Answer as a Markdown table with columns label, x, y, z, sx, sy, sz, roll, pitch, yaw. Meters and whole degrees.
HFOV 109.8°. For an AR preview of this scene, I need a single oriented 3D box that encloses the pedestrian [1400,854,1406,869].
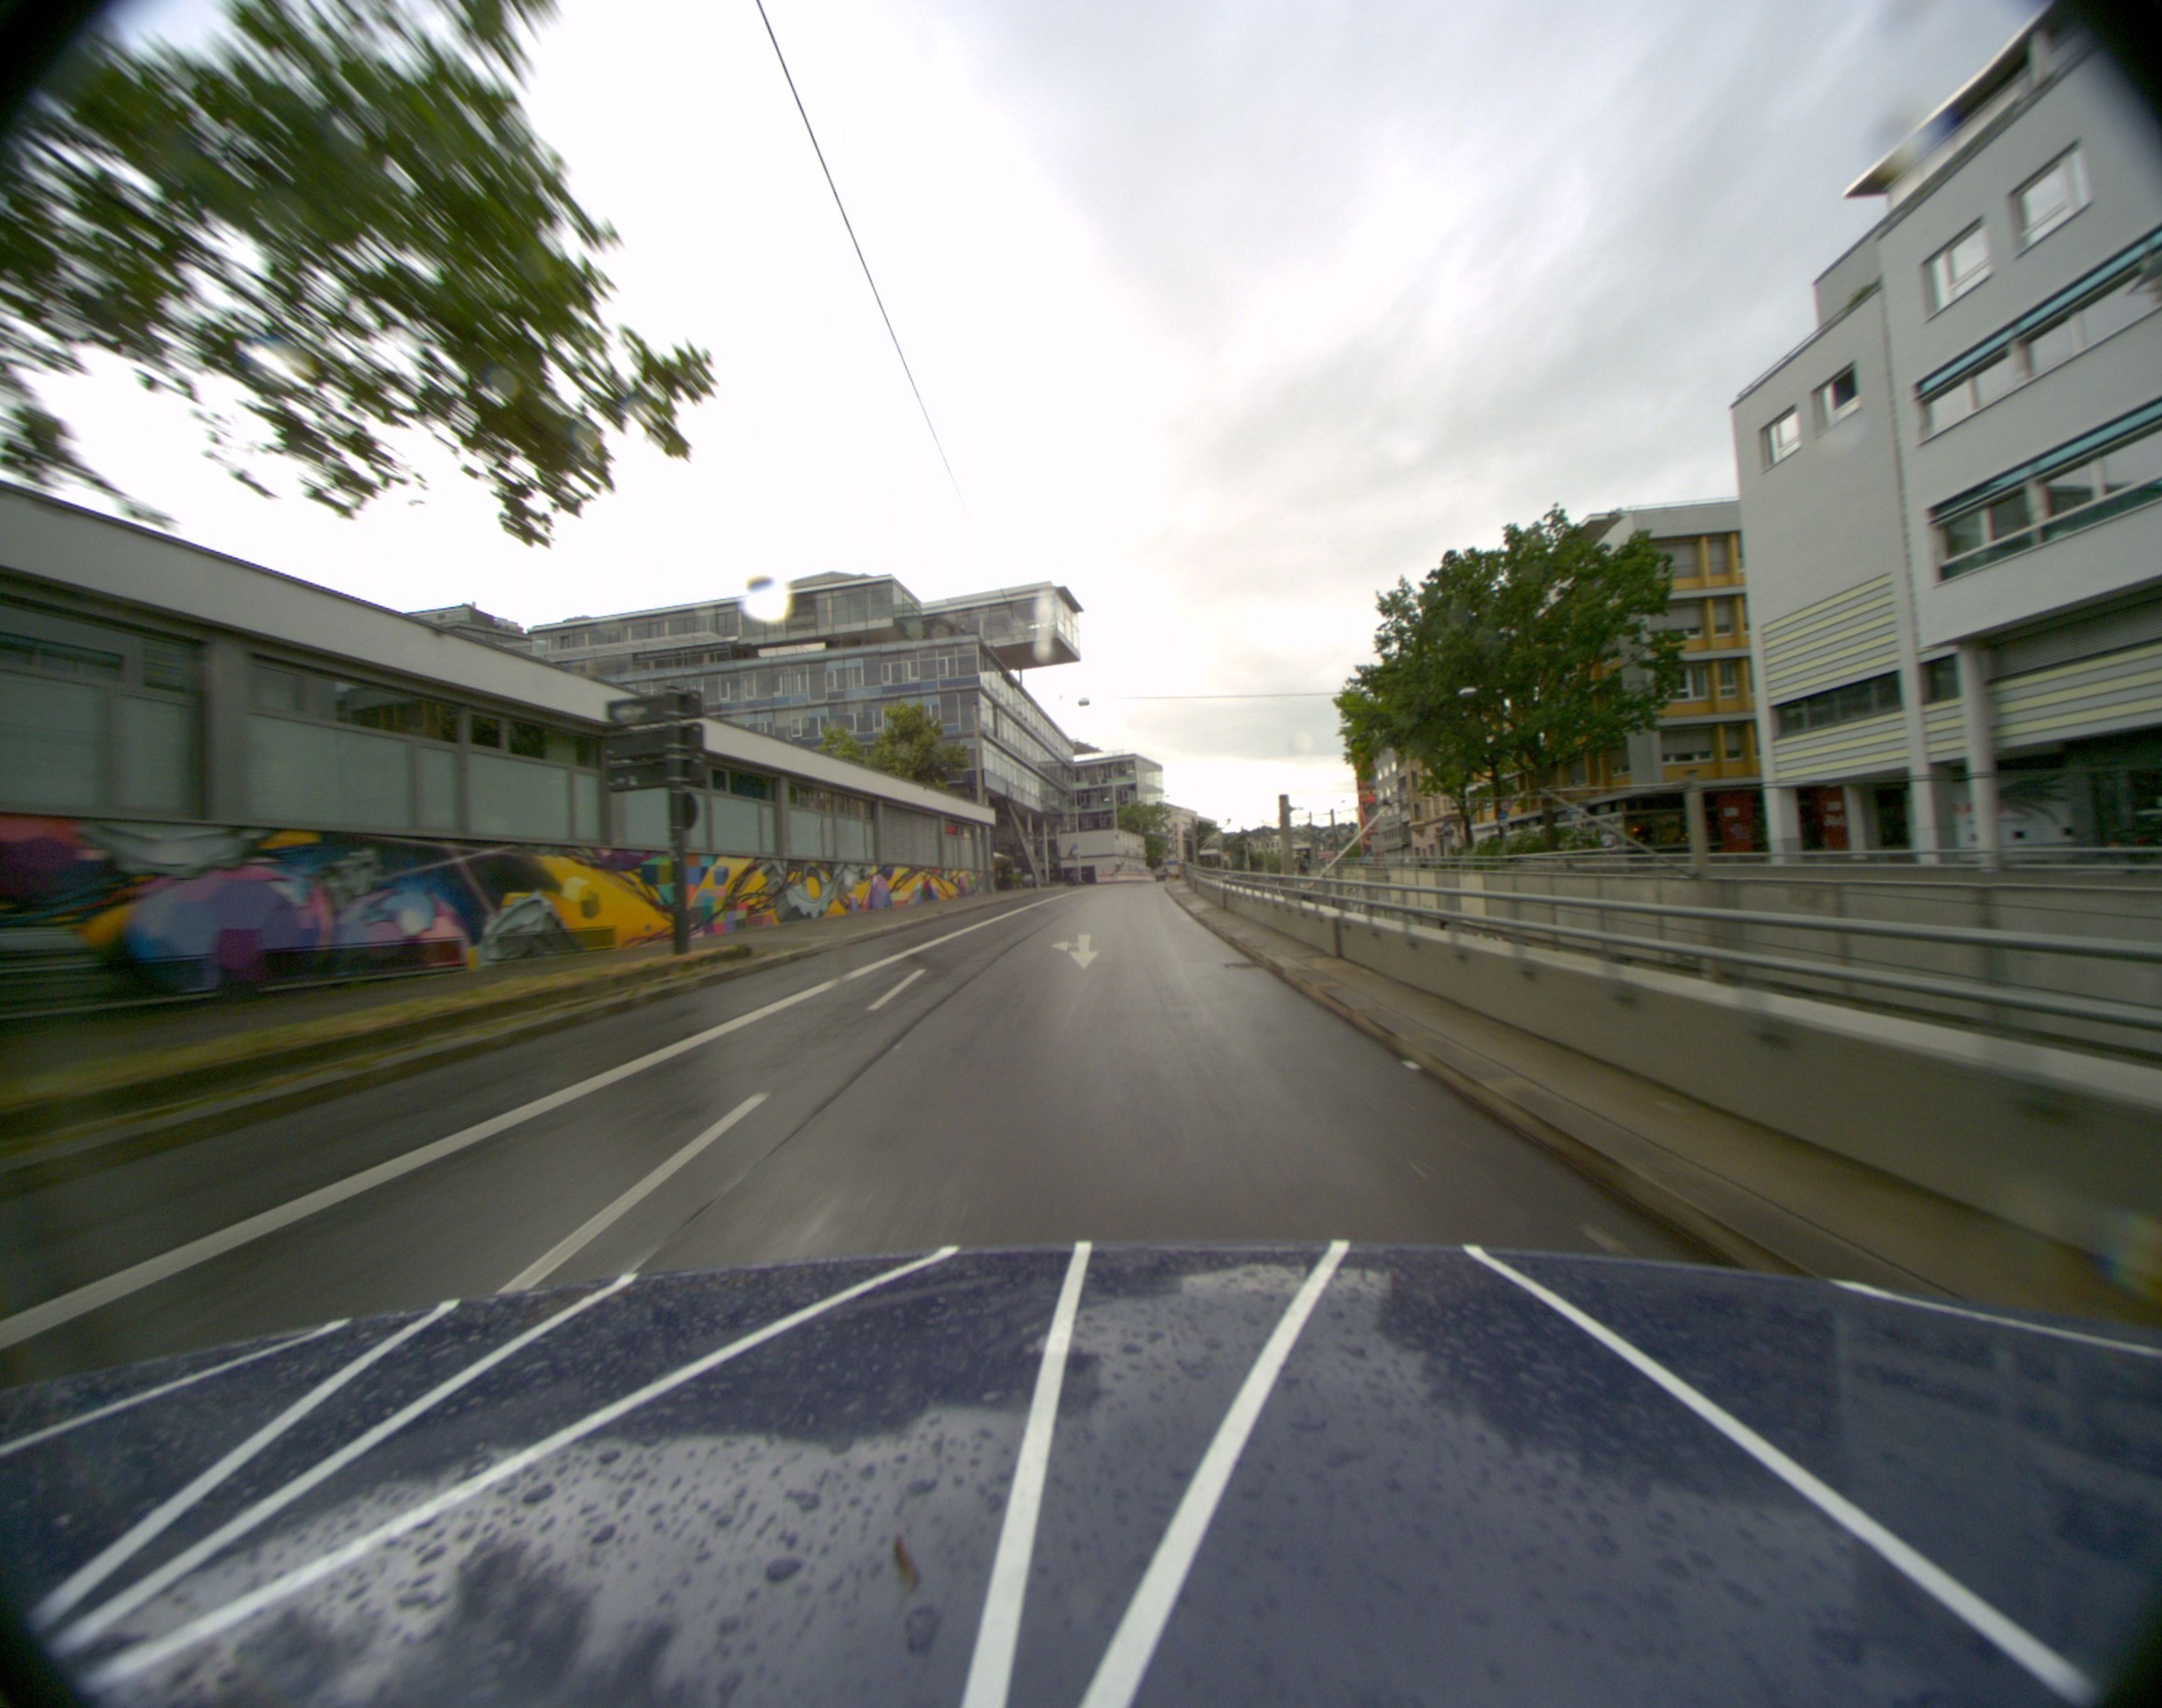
| label | x | y | z | sx | sy | sz | roll | pitch | yaw |
| --- | --- | --- | --- | --- | --- | --- | --- | --- | --- |
| pedestrian | 37.670 | 0.887 | 88.829 | 0.422 | 1.671 | 0.609 | -5 | -3 | 27 |

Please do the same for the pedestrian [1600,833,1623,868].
| label | x | y | z | sx | sy | sz | roll | pitch | yaw |
| --- | --- | --- | --- | --- | --- | --- | --- | --- | --- |
| pedestrian | 28.391 | -0.197 | 40.656 | 0.666 | 1.838 | 0.830 | -1 | 0 | 8 |

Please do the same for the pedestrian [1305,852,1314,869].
| label | x | y | z | sx | sy | sz | roll | pitch | yaw |
| --- | --- | --- | --- | --- | --- | --- | --- | --- | --- |
| pedestrian | 23.367 | 0.679 | 77.693 | 0.772 | 1.639 | 0.779 | 2 | 0 | 20 |

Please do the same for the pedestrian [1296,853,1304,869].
| label | x | y | z | sx | sy | sz | roll | pitch | yaw |
| --- | --- | --- | --- | --- | --- | --- | --- | --- | --- |
| pedestrian | 23.519 | 0.771 | 81.594 | 0.633 | 1.649 | 0.684 | -4 | -3 | 19 |

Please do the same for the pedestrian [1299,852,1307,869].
| label | x | y | z | sx | sy | sz | roll | pitch | yaw |
| --- | --- | --- | --- | --- | --- | --- | --- | --- | --- |
| pedestrian | 22.496 | 0.655 | 77.080 | 0.678 | 1.639 | 0.897 | 2 | 0 | 20 |

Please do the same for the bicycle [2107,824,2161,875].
| label | x | y | z | sx | sy | sz | roll | pitch | yaw |
| --- | --- | --- | --- | --- | --- | --- | --- | --- | --- |
| bicycle | 22.813 | -0.121 | 14.068 | 1.696 | 1.037 | 4.523 | -1 | 0 | 4 |

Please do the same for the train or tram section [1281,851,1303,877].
| label | x | y | z | sx | sy | sz | roll | pitch | yaw |
| --- | --- | --- | --- | --- | --- | --- | --- | --- | --- |
| train or tram section | 35.238 | 1.767 | 126.750 | 2.782 | 3.667 | 9.733 | -5 | -5 | 19 |
